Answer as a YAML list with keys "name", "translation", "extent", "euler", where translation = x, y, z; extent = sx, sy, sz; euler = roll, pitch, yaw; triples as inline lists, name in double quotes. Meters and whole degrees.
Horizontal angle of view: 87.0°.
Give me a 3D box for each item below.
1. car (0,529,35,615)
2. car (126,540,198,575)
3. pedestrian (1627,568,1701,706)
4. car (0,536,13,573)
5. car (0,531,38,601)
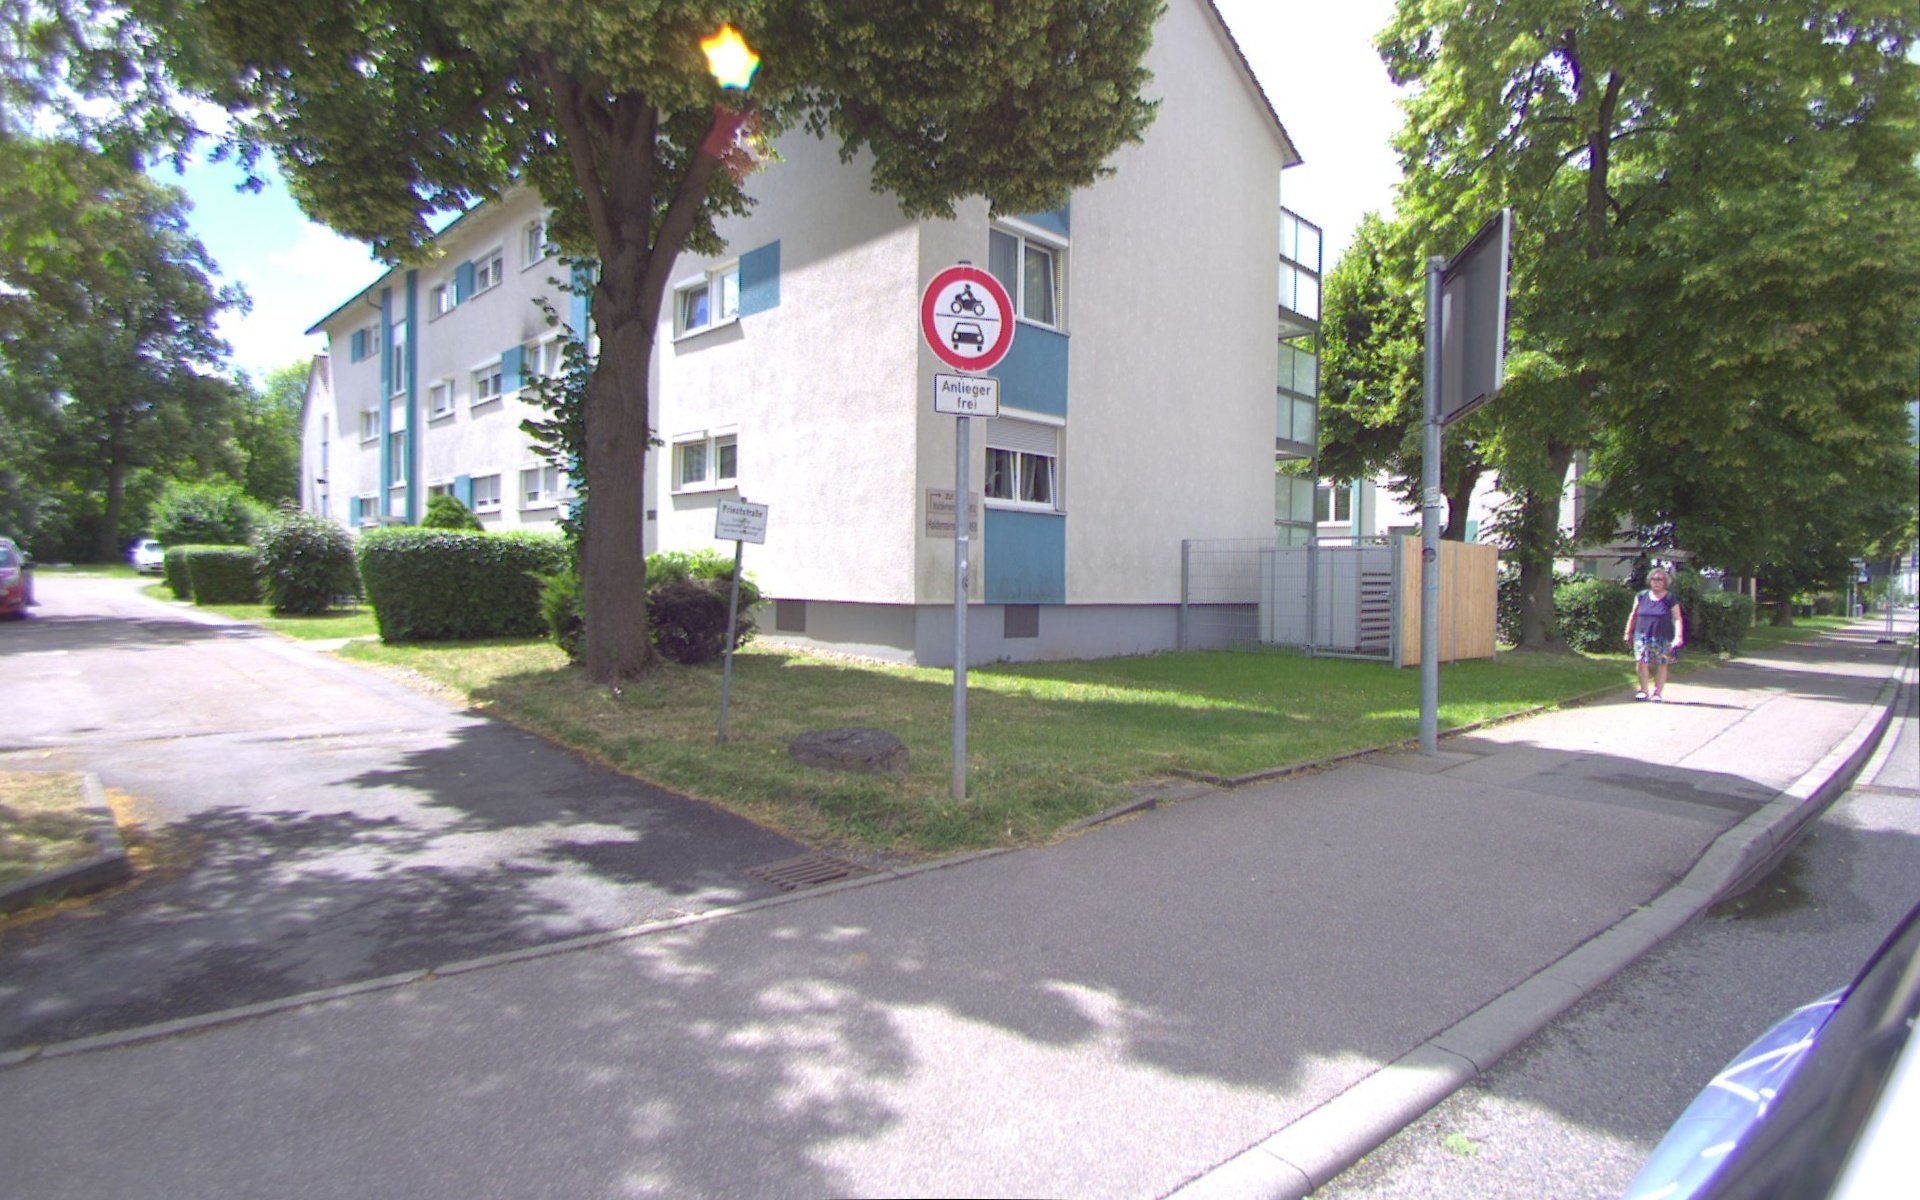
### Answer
- name: "car"
  translation: [-18.699, -0.501, 19.066]
  extent: [1.700, 1.521, 3.876]
  euler: [0, 0, -40]
- name: "car"
  translation: [-34.537, -1.798, 43.753]
  extent: [3.988, 1.329, 1.968]
  euler: [0, 0, 45]
- name: "pedestrian"
  translation: [9.003, 0.449, 12.935]
  extent: [0.681, 1.681, 0.820]
  euler: [2, 0, 39]
- name: "car"
  translation: [-38.646, -1.779, 39.742]
  extent: [1.965, 1.329, 3.994]
  euler: [0, 0, -41]
- name: "car"
  translation: [-22.549, -0.828, 23.217]
  extent: [3.989, 1.522, 1.887]
  euler: [3, 2, 45]
